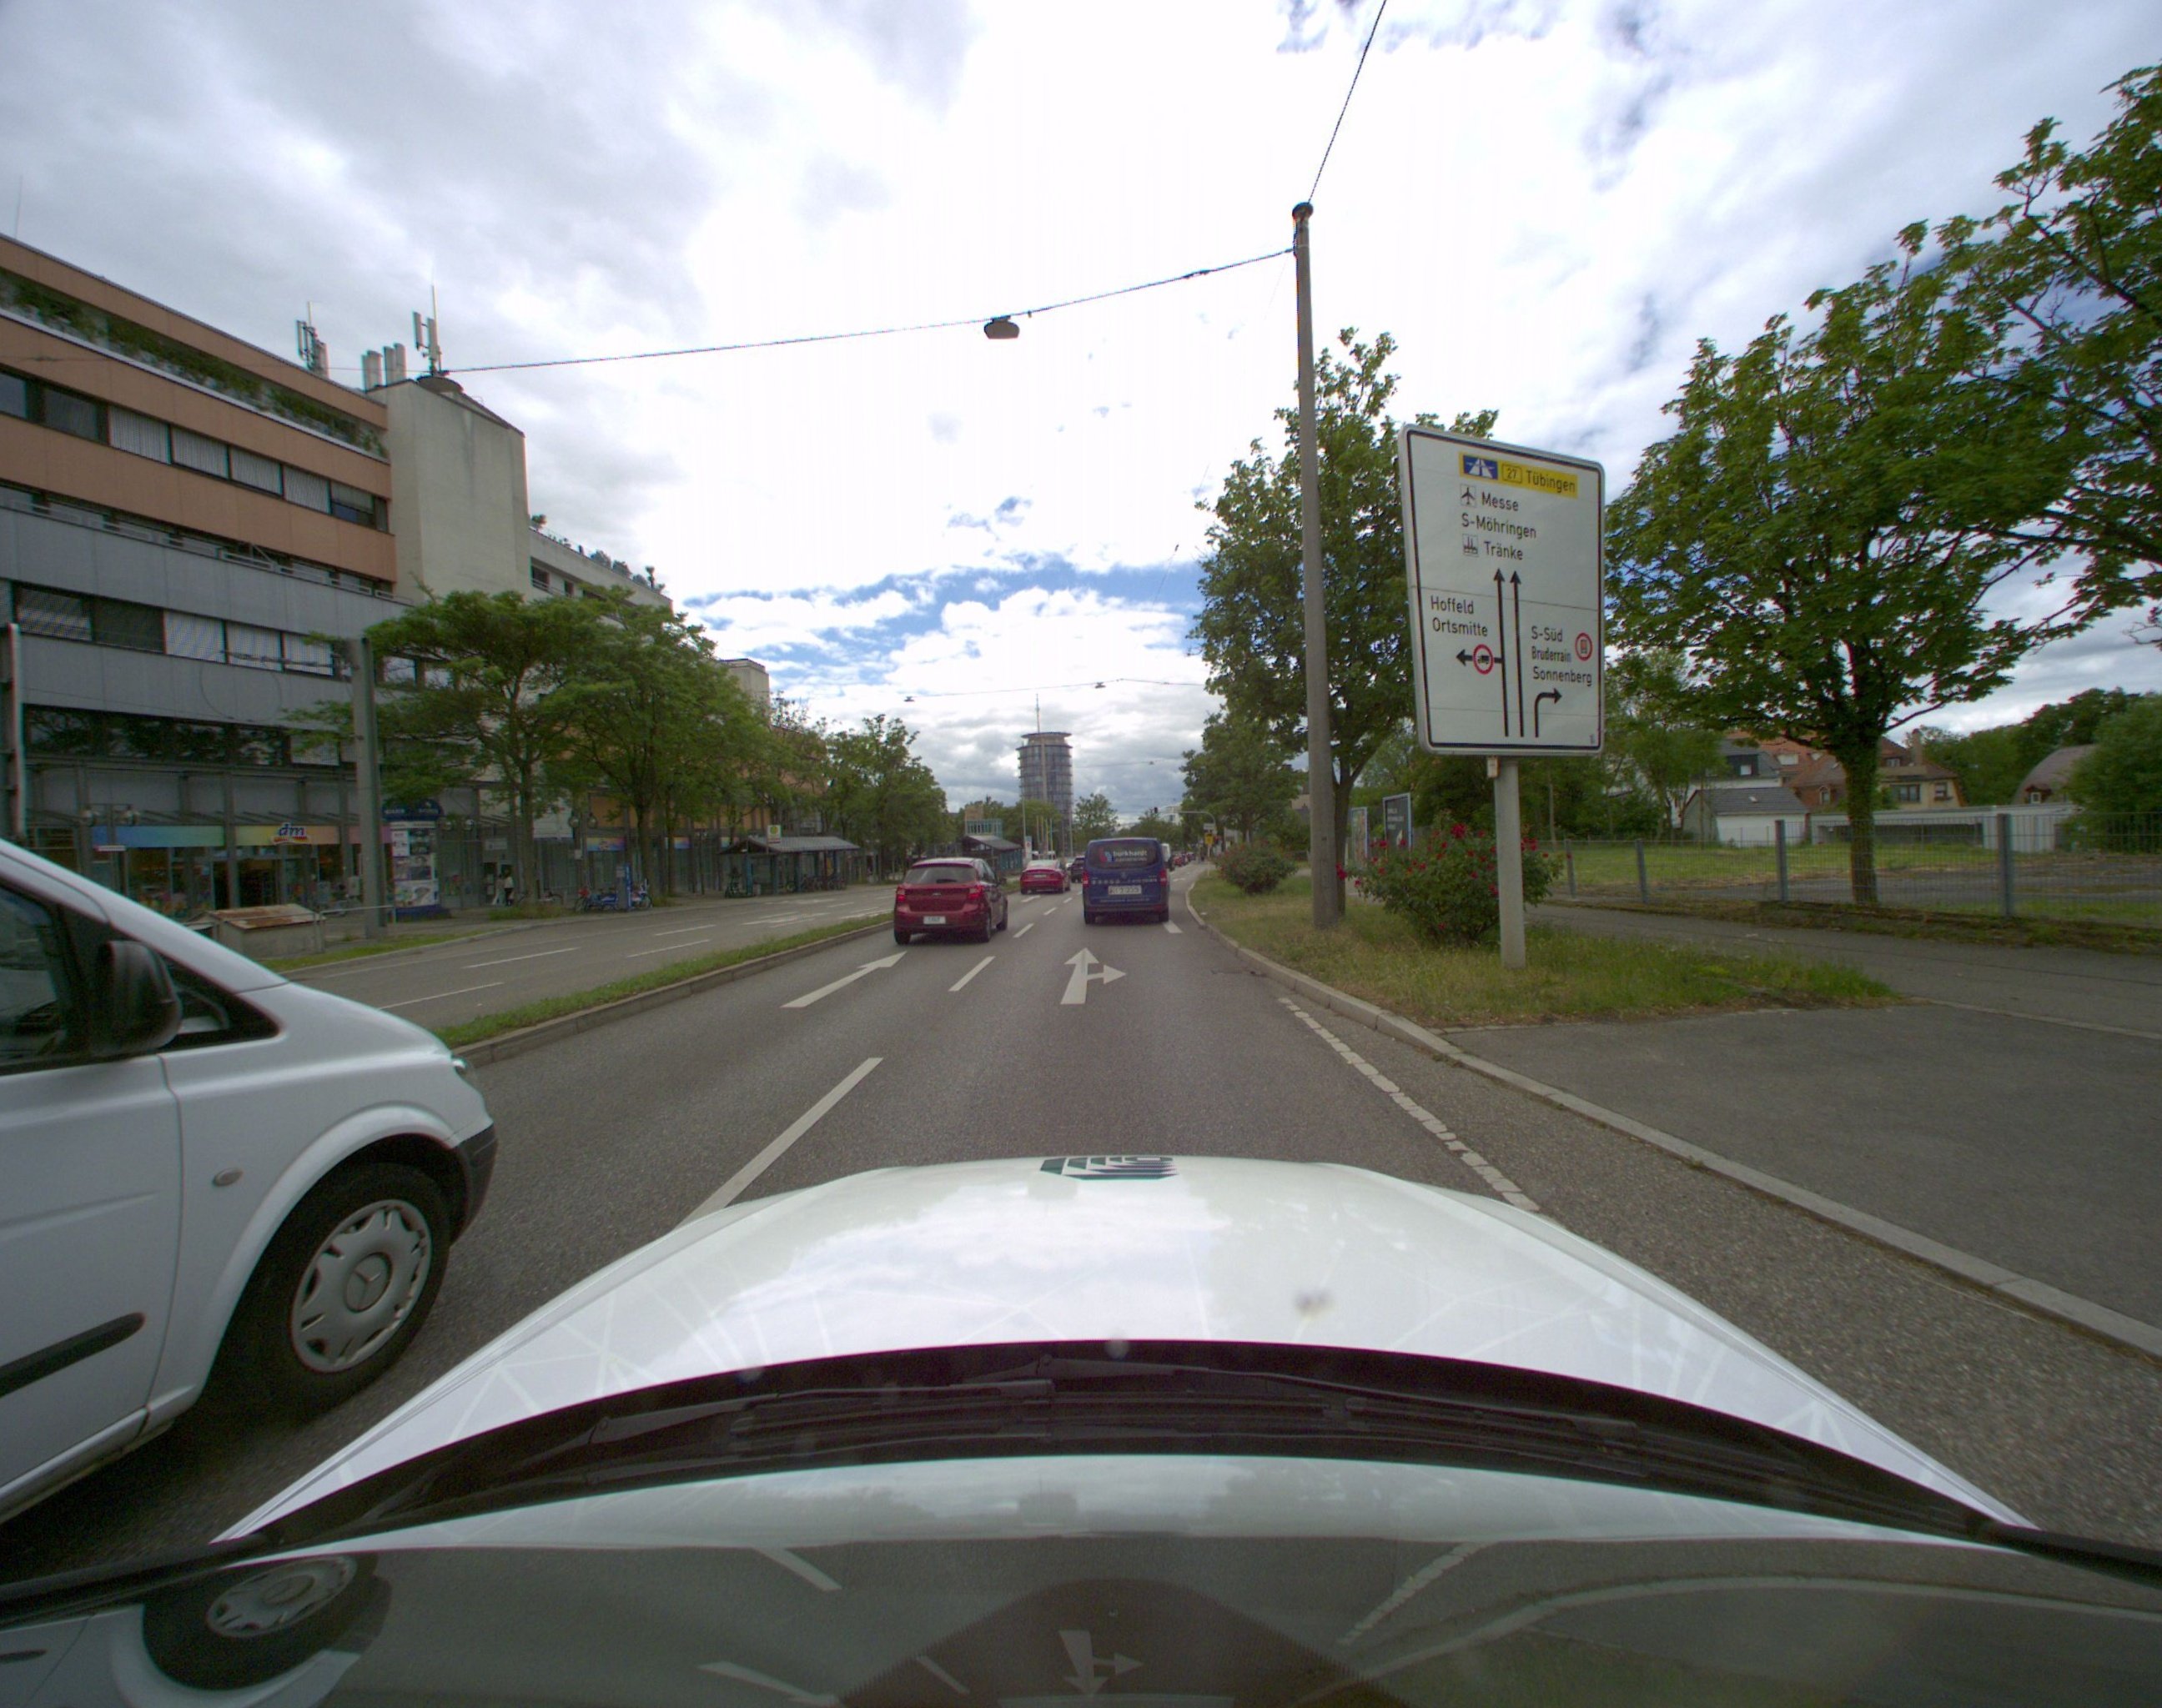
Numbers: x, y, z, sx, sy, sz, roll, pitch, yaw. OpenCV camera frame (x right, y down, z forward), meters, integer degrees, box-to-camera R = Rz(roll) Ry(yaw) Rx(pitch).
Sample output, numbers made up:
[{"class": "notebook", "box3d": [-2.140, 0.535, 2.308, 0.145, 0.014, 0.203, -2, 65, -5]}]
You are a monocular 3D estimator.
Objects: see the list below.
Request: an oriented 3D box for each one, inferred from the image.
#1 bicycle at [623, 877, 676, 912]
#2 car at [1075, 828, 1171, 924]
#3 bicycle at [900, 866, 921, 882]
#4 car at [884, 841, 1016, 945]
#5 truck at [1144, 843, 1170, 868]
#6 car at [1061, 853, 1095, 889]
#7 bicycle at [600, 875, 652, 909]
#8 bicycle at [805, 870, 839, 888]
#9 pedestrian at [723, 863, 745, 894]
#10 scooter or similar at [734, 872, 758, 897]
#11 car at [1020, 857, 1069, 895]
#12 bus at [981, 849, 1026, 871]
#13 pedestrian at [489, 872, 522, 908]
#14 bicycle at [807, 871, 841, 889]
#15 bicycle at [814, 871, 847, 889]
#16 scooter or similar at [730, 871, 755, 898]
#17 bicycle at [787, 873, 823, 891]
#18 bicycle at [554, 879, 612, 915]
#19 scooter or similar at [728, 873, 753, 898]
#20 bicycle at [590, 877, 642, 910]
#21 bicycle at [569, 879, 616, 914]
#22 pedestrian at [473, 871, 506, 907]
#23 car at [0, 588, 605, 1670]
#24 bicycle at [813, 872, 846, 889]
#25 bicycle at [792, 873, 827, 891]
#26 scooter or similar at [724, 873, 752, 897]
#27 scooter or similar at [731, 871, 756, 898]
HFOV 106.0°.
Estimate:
[{"class": "bicycle", "box3d": [-17.200, 1.598, 32.479, 0.619, 1.253, 1.694, -3, -1, 42]}, {"class": "car", "box3d": [1.063, 0.476, 19.342, 1.939, 1.965, 4.547, -2, 0, 5]}, {"class": "bicycle", "box3d": [-14.104, 1.670, 67.419, 1.046, 1.271, 2.429, -1, 0, 6]}, {"class": "car", "box3d": [-2.389, 0.677, 15.826, 1.740, 1.723, 4.002, -2, 0, 2]}, {"class": "truck", "box3d": [7.011, 0.125, 74.745, 1.981, 2.165, 5.574, -1, 0, 10]}, {"class": "car", "box3d": [-0.129, 1.009, 50.412, 1.986, 2.013, 4.001, -1, 1, 1]}, {"class": "bicycle", "box3d": [-18.247, 1.502, 32.694, 0.619, 1.253, 1.694, -3, -1, 42]}, {"class": "bicycle", "box3d": [-17.227, 1.672, 54.189, 2.062, 1.153, 0.710, -1, -1, -7]}, {"class": "pedestrian", "box3d": [-20.466, 1.417, 48.101, 0.729, 1.781, 0.999, -3, -1, 5]}, {"class": "scooter or similar", "box3d": [-18.269, 1.667, 44.408, 1.197, 1.320, 0.260, -3, -1, 2]}, {"class": "car", "box3d": [-1.539, 0.914, 35.663, 1.862, 1.486, 4.000, -3, 0, 1]}, {"class": "bus", "box3d": [-11.875, 0.861, 126.119, 2.935, 3.133, 12.206, -2, -1, 14]}, {"class": "pedestrian", "box3d": [-27.003, 1.695, 38.228, 0.729, 1.618, 0.999, -3, -1, 5]}, {"class": "bicycle", "box3d": [-17.524, 1.774, 55.595, 2.062, 1.153, 0.710, -3, -1, -7]}, {"class": "bicycle", "box3d": [-17.717, 1.844, 57.619, 2.062, 1.153, 0.710, -2, -1, -7]}, {"class": "scooter or similar", "box3d": [-18.245, 1.630, 43.839, 1.197, 1.385, 0.222, -3, -1, 2]}, {"class": "bicycle", "box3d": [-17.617, 1.779, 52.058, 2.062, 1.153, 0.710, 0, -1, -7]}, {"class": "bicycle", "box3d": [-18.780, 1.614, 30.733, 0.619, 1.253, 1.694, -3, 0, 43]}, {"class": "scooter or similar", "box3d": [-18.212, 1.686, 43.564, 1.123, 1.295, 0.268, -3, -1, 1]}, {"class": "bicycle", "box3d": [-19.013, 1.613, 33.301, 0.619, 1.253, 1.694, -3, -1, 42]}, {"class": "bicycle", "box3d": [-18.972, 1.626, 31.659, 0.427, 1.253, 1.479, -3, 0, 45]}, {"class": "pedestrian", "box3d": [-27.868, 1.637, 38.363, 0.729, 1.618, 0.999, -3, -1, 5]}, {"class": "car", "box3d": [-2.962, 0.539, 0.849, 1.867, 2.013, 5.075, -2, 1, 0]}, {"class": "bicycle", "box3d": [-17.482, 1.853, 56.567, 2.062, 1.153, 0.710, 1, -1, -7]}, {"class": "bicycle", "box3d": [-17.740, 1.812, 53.208, 2.062, 1.153, 0.710, 0, -1, -7]}, {"class": "scooter or similar", "box3d": [-18.177, 1.642, 43.202, 1.316, 1.269, 0.339, -1, -1, 2]}, {"class": "scooter or similar", "box3d": [-18.287, 1.644, 44.110, 1.197, 1.423, 0.260, -3, -1, 2]}]
